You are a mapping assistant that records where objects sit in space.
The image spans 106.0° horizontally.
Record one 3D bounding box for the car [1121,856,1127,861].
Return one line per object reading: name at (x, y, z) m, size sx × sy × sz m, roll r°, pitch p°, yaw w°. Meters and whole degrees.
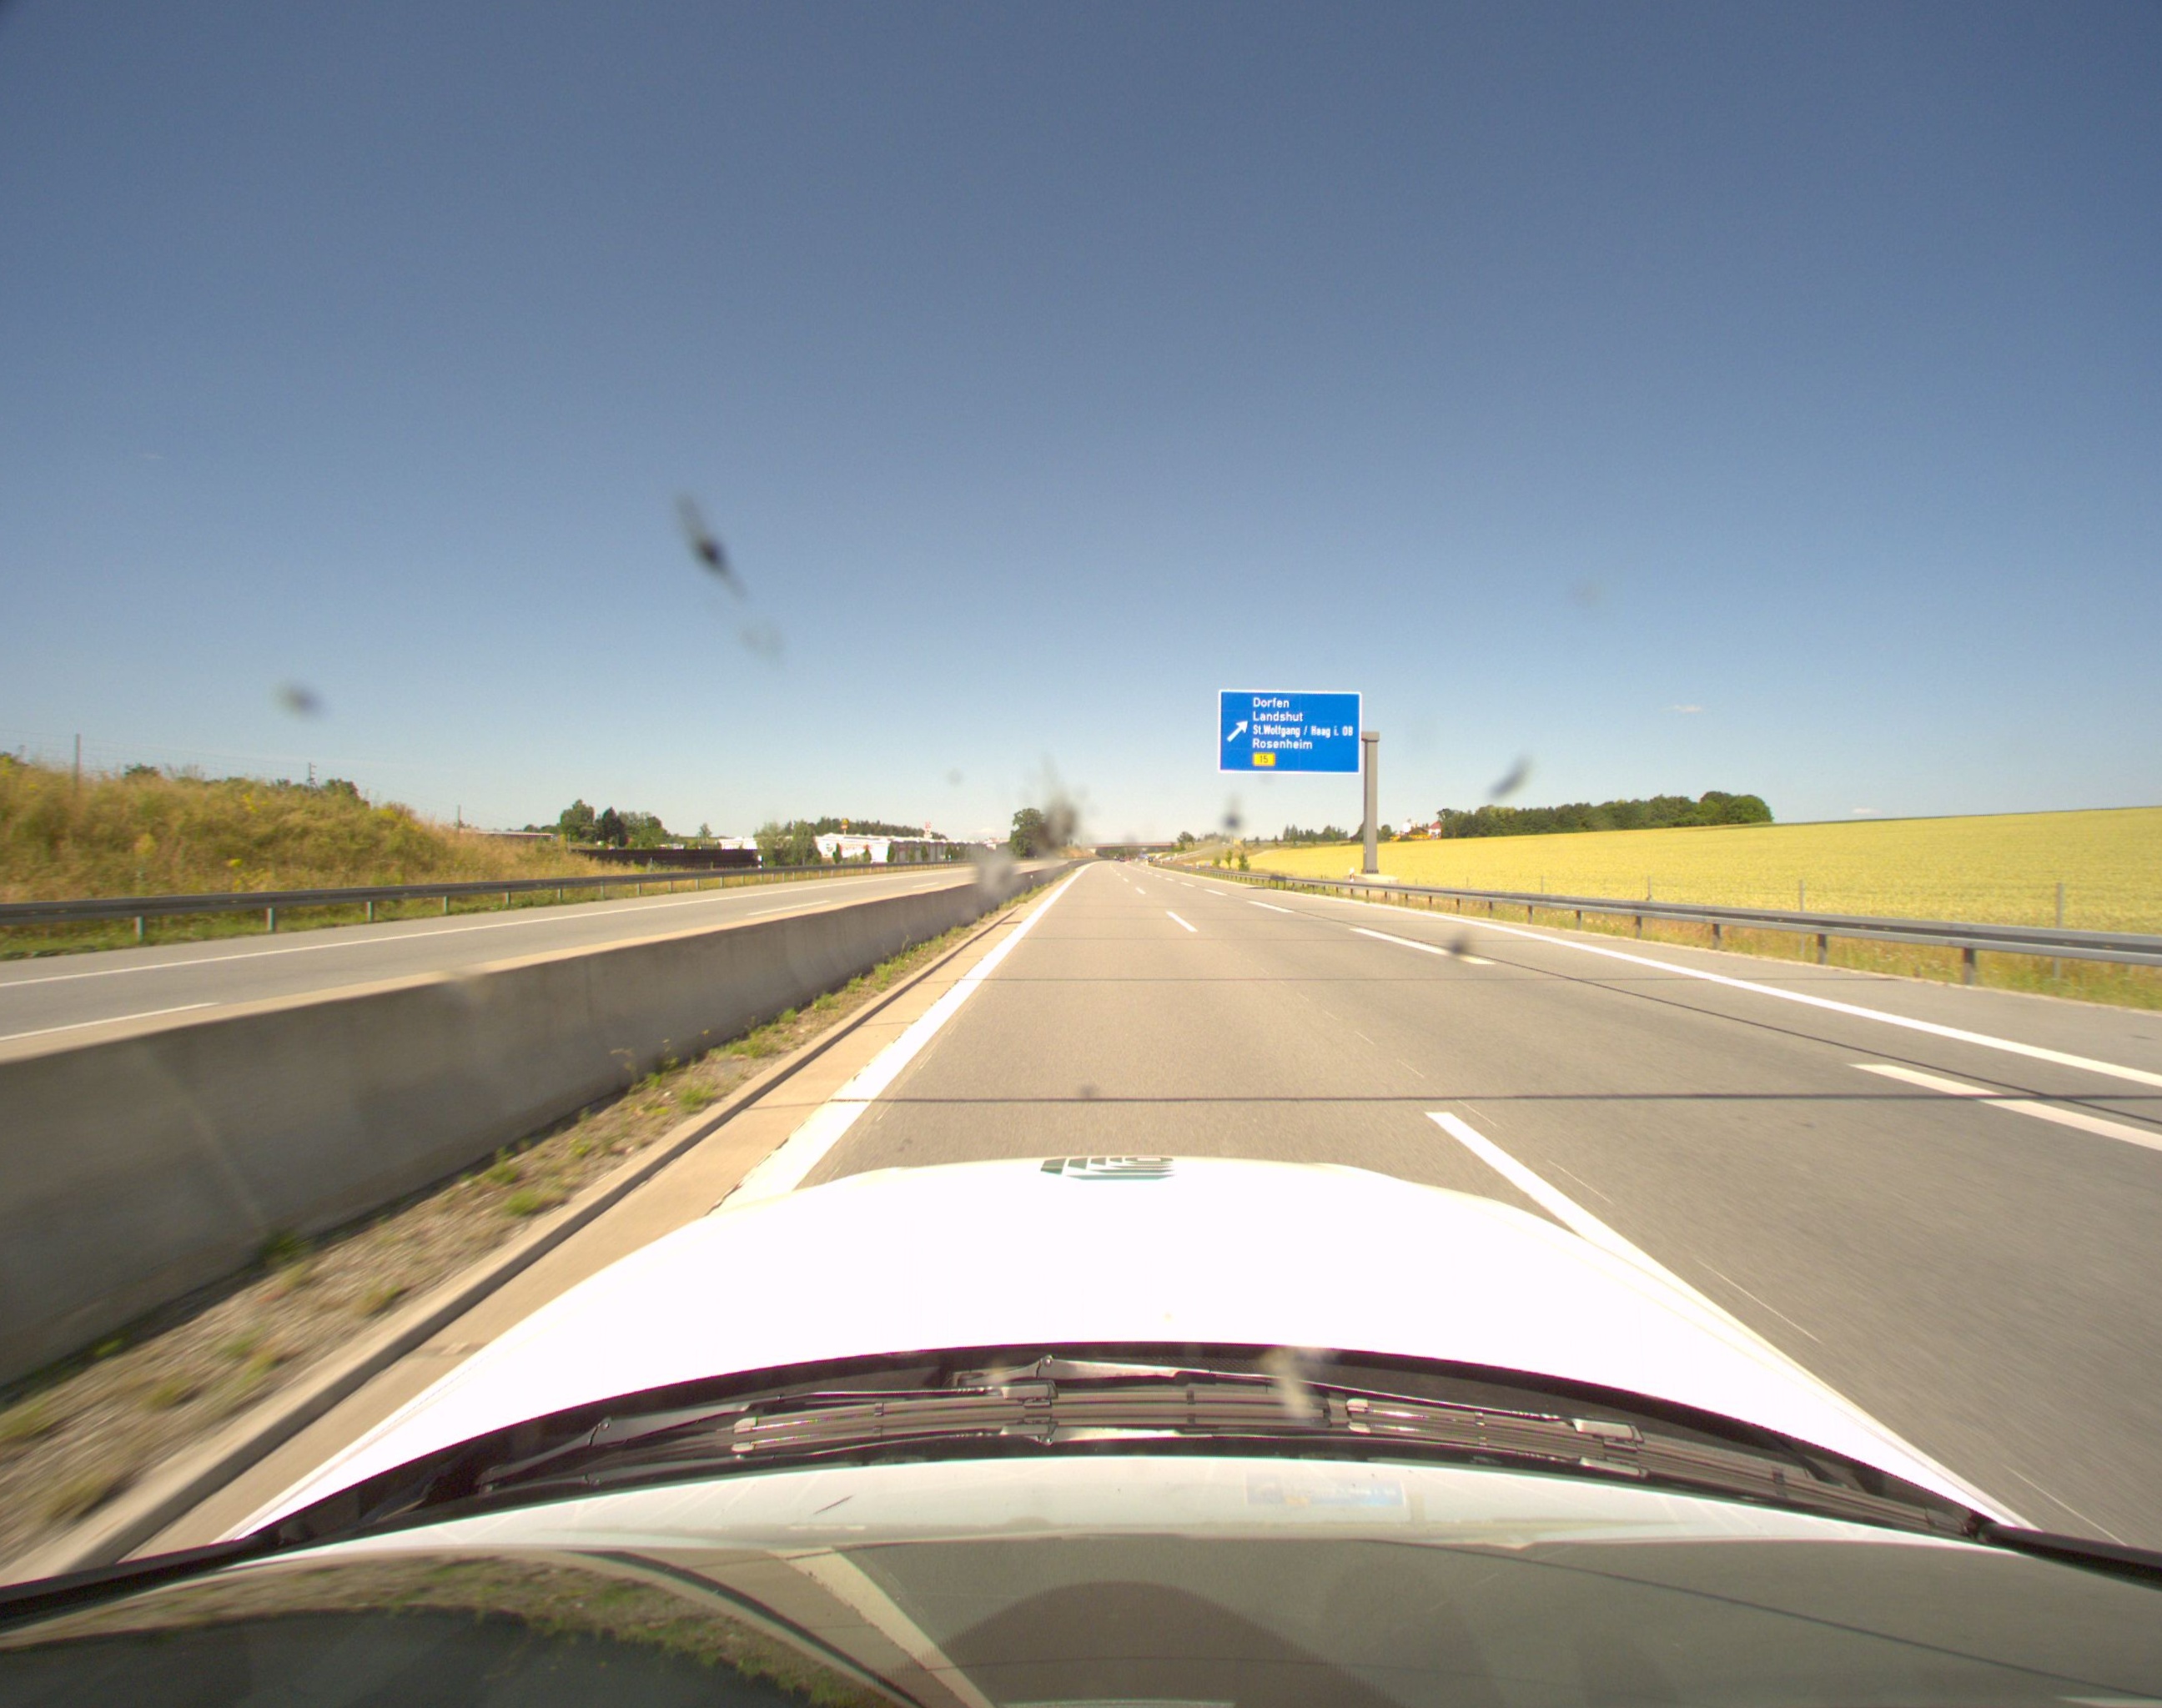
car at (13.647, 1.393, 258.899) m, size 1.984 × 1.420 × 4.005 m, roll 0°, pitch 0°, yaw 5°
